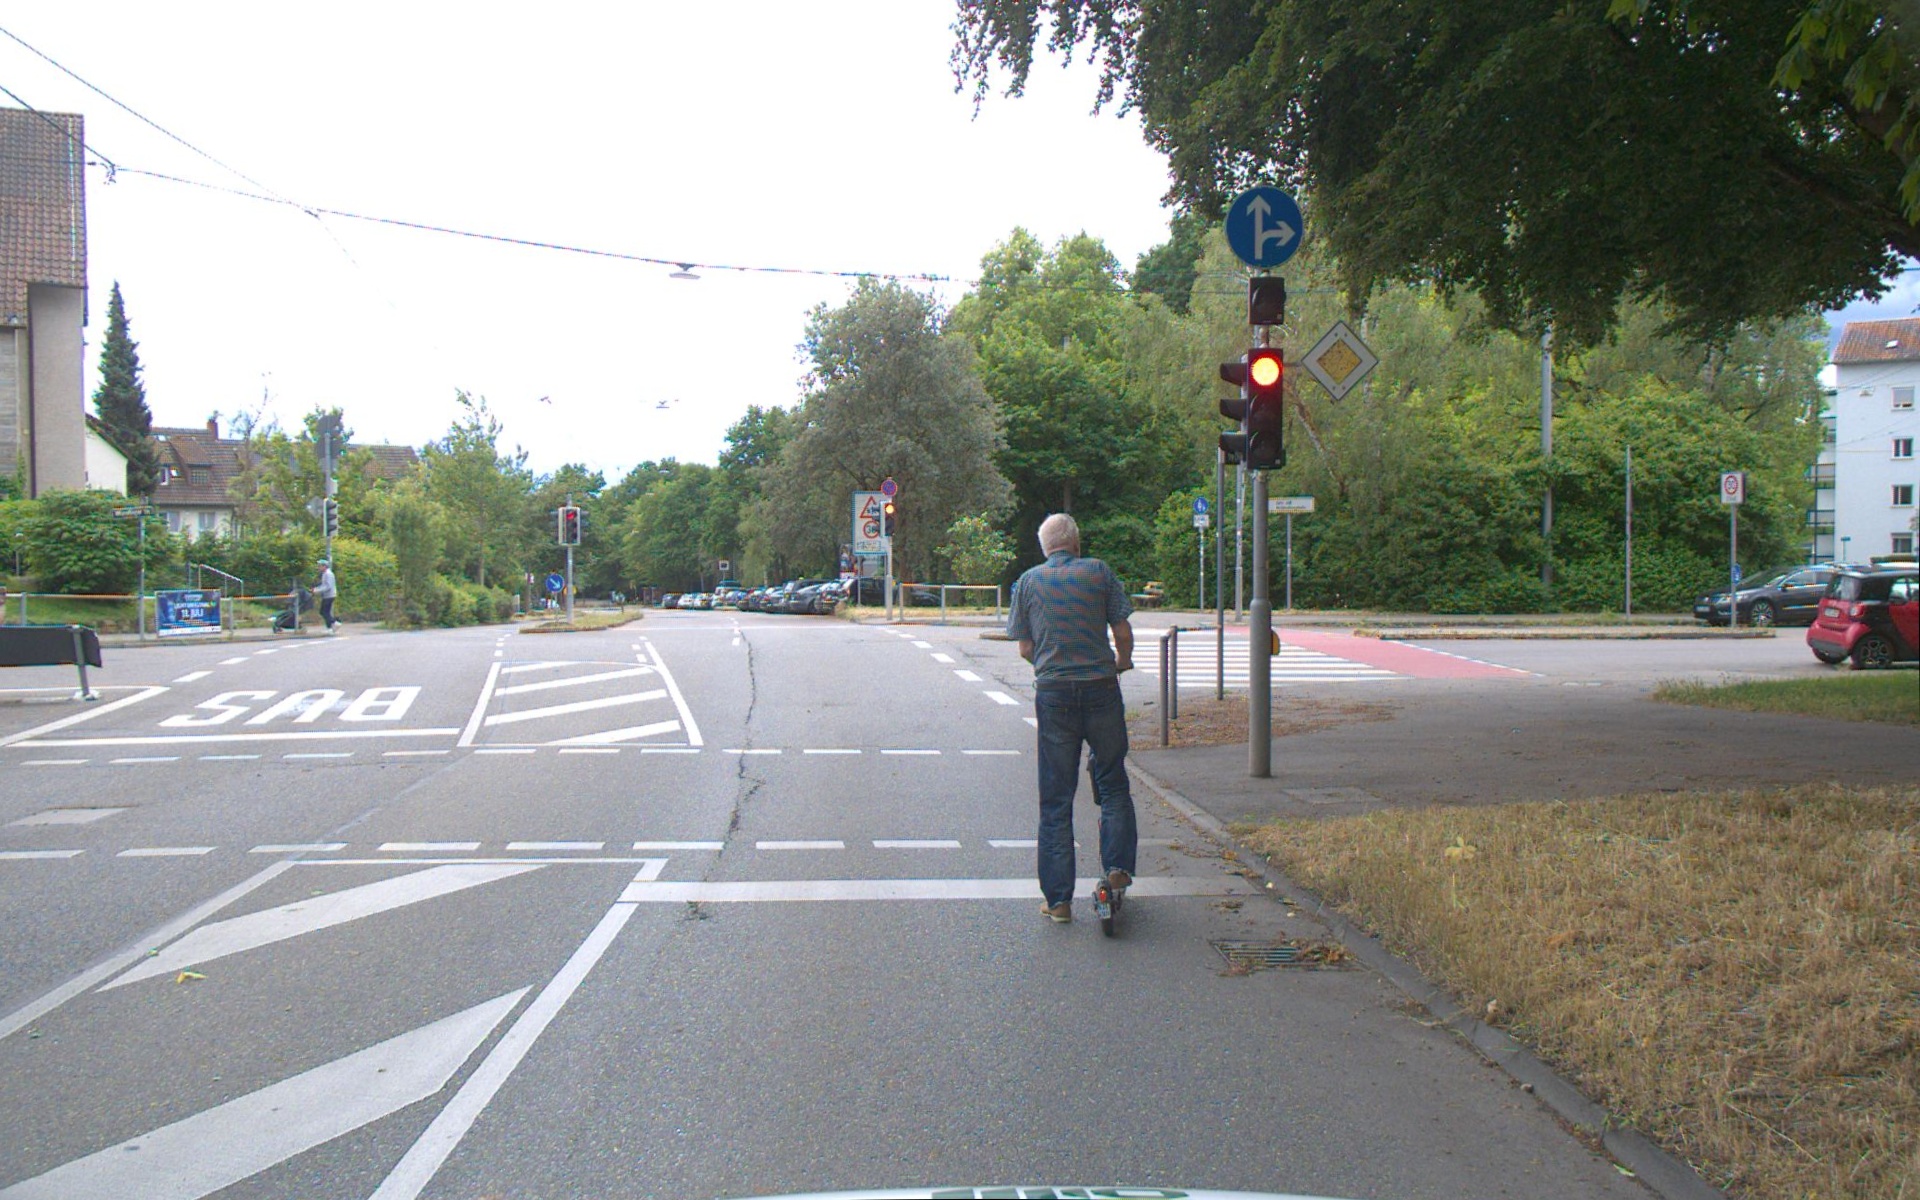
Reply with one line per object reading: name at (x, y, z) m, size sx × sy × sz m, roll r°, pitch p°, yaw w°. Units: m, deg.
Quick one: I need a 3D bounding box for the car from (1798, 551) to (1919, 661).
car at (15.256, 0.046, 25.832) m, size 3.444 × 1.639 × 1.729 m, roll -2°, pitch 1°, yaw 4°

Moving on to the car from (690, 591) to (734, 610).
car at (-23.055, 0.033, 153.714) m, size 3.790 × 1.639 × 1.716 m, roll -2°, pitch 1°, yaw -24°

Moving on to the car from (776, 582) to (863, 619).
car at (-6.721, -0.003, 79.194) m, size 3.790 × 1.639 × 1.716 m, roll -2°, pitch 1°, yaw -24°

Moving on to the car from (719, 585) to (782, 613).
car at (-13.777, -0.073, 108.711) m, size 3.790 × 1.639 × 1.716 m, roll -2°, pitch 1°, yaw -24°

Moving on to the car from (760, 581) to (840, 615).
car at (-8.361, -0.118, 86.518) m, size 3.790 × 1.639 × 1.716 m, roll -2°, pitch 1°, yaw -24°

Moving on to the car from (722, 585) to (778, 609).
car at (-15.433, -0.209, 121.654) m, size 3.790 × 1.639 × 1.716 m, roll -2°, pitch 1°, yaw -24°

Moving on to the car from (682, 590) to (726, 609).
car at (-24.115, -0.039, 155.831) m, size 3.790 × 1.639 × 1.716 m, roll -2°, pitch 1°, yaw -24°

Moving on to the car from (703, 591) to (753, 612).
car at (-19.453, 0.139, 138.789) m, size 3.790 × 1.639 × 1.716 m, roll -2°, pitch 1°, yaw -24°

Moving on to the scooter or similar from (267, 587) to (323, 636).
scooter or similar at (-15.563, 0.260, 38.715) m, size 1.098 × 1.100 × 0.570 m, roll -1°, pitch 1°, yaw -35°

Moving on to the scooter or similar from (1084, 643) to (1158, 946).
scooter or similar at (0.732, 0.815, 7.389) m, size 0.276 × 1.199 × 1.178 m, roll -1°, pitch 1°, yaw 7°

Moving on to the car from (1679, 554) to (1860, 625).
car at (19.154, -0.262, 39.233) m, size 3.444 × 1.557 × 1.729 m, roll -2°, pitch 1°, yaw 5°

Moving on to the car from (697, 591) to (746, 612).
car at (-20.547, 0.107, 142.448) m, size 3.790 × 1.639 × 1.716 m, roll -2°, pitch 1°, yaw -24°

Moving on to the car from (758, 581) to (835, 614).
car at (-8.800, -0.132, 88.924) m, size 3.790 × 1.639 × 1.716 m, roll -2°, pitch 1°, yaw -24°

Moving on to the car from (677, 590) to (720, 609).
car at (-25.046, -0.066, 158.388) m, size 3.790 × 1.639 × 1.716 m, roll -2°, pitch 1°, yaw -24°

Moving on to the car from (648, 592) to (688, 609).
car at (-30.917, 0.039, 175.158) m, size 3.790 × 1.639 × 1.716 m, roll -2°, pitch 1°, yaw -24°

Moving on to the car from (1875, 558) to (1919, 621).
car at (26.406, -0.336, 45.813) m, size 1.689 × 1.639 × 3.850 m, roll -1°, pitch 1°, yaw 27°

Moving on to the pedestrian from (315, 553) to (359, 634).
pedestrian at (-14.794, -0.161, 39.268) m, size 0.875 × 1.895 × 0.568 m, roll -1°, pitch 1°, yaw -32°

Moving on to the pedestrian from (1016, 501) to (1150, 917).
pedestrian at (0.571, 0.484, 7.563) m, size 0.560 × 1.845 × 0.421 m, roll -1°, pitch 0°, yaw 7°

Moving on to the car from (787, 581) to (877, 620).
car at (-5.928, 0.016, 76.664) m, size 3.792 × 1.639 × 1.715 m, roll -2°, pitch 1°, yaw -25°

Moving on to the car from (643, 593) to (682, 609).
car at (-31.926, 0.099, 177.480) m, size 3.790 × 1.639 × 1.716 m, roll -2°, pitch 1°, yaw -24°

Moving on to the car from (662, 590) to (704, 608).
car at (-27.685, -0.143, 165.414) m, size 3.790 × 1.639 × 1.716 m, roll -2°, pitch 1°, yaw -24°

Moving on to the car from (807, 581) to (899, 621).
car at (-4.843, 0.022, 74.710) m, size 3.787 × 1.639 × 1.717 m, roll -2°, pitch 1°, yaw -22°
